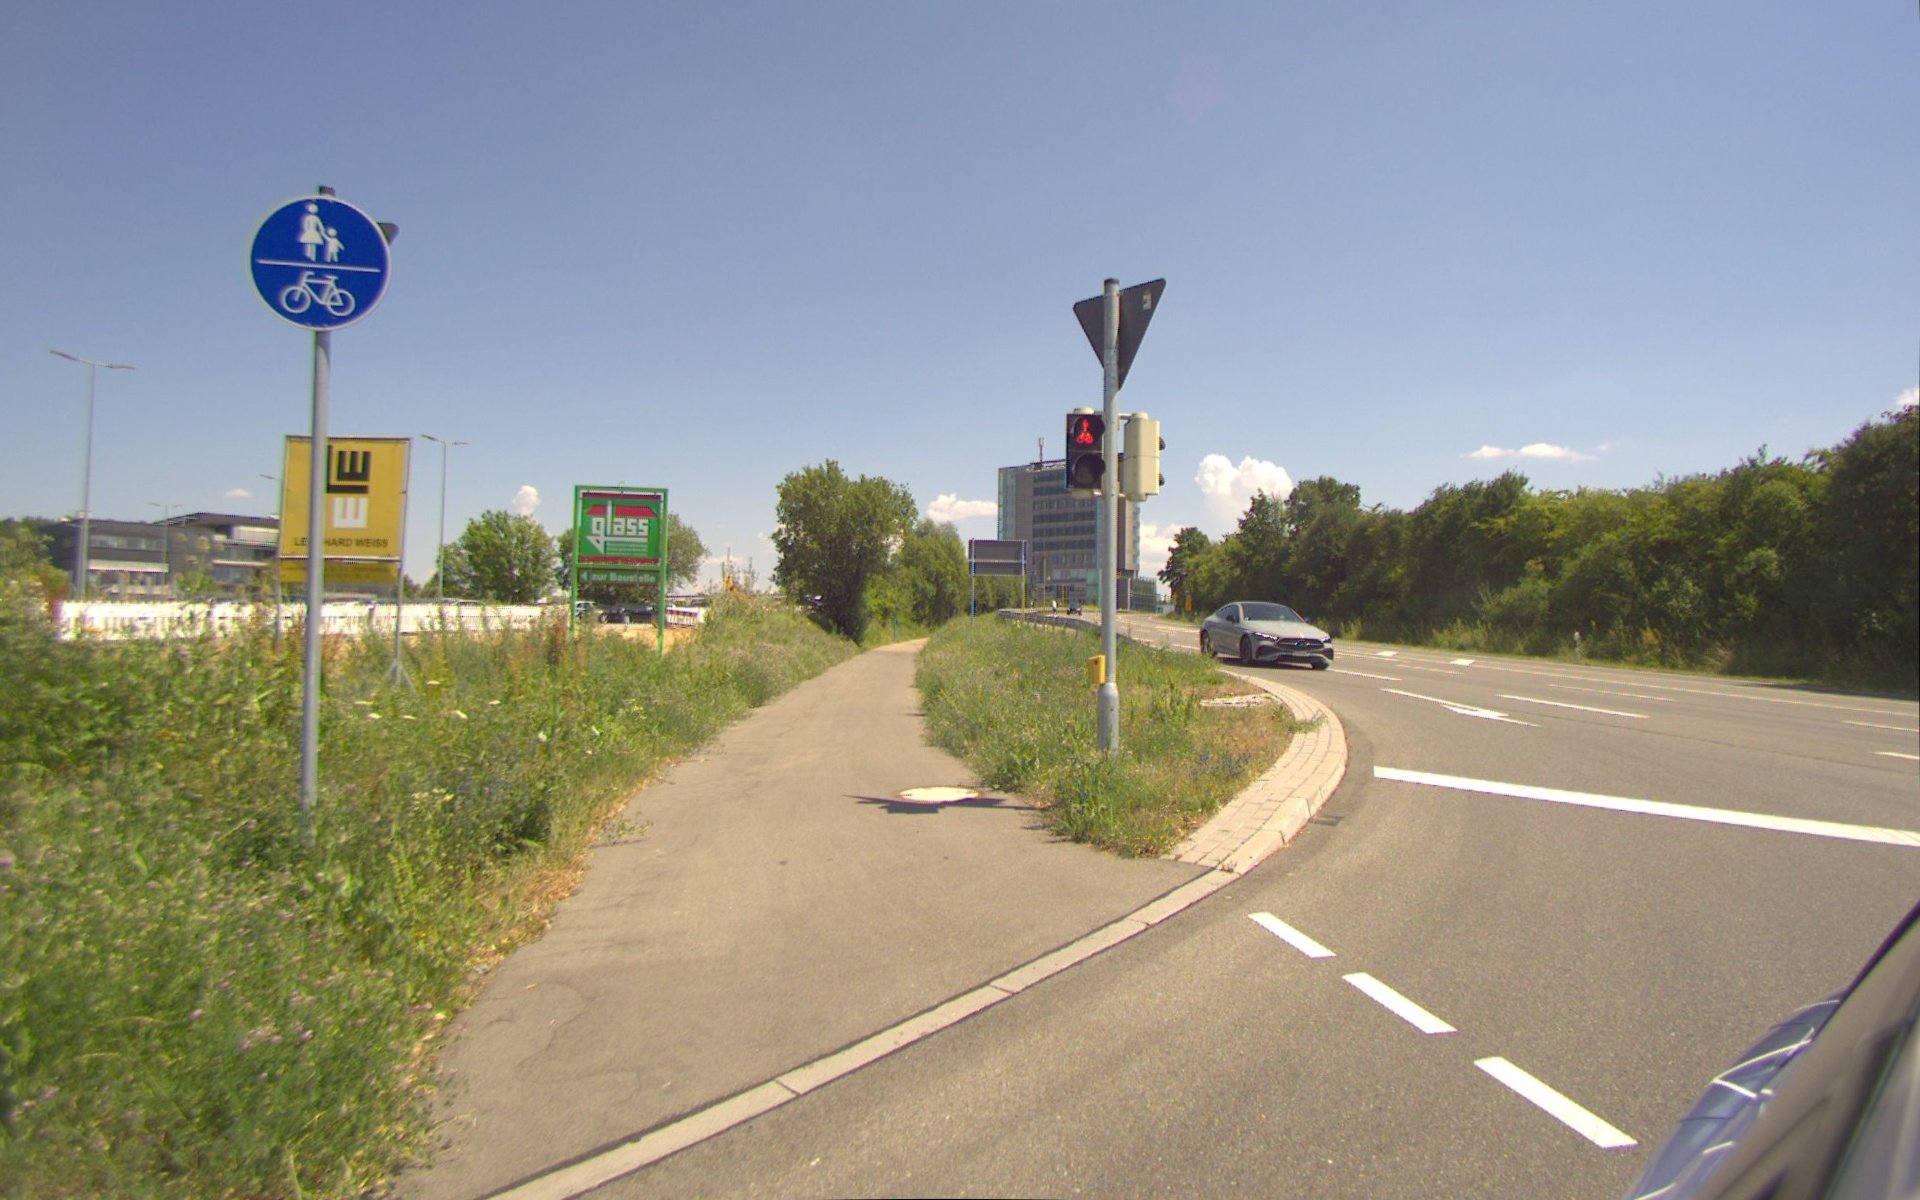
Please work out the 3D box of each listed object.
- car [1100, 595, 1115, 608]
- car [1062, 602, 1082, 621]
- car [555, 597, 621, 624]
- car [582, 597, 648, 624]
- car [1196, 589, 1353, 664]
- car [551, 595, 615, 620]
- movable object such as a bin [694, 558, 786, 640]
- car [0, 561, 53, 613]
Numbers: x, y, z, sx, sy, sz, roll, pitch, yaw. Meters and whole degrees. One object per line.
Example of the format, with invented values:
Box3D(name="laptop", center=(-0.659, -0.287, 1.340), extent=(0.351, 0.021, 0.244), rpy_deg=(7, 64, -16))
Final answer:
Box3D(name="car", center=(24.185, 0.277, 165.670), extent=(1.971, 2.038, 3.982), rpy_deg=(2, 1, 14))
Box3D(name="car", center=(13.286, 1.325, 120.247), extent=(1.963, 2.038, 3.998), rpy_deg=(2, 1, 2))
Box3D(name="car", center=(-25.229, 0.701, 68.727), extent=(1.980, 1.660, 3.965), rpy_deg=(3, 1, 25))
Box3D(name="car", center=(-22.953, 0.667, 67.515), extent=(1.980, 1.660, 3.965), rpy_deg=(3, 1, 25))
Box3D(name="car", center=(7.069, 0.656, 23.264), extent=(1.885, 1.461, 4.483), rpy_deg=(3, -3, -4))
Box3D(name="car", center=(-26.621, 0.515, 71.607), extent=(1.980, 1.660, 3.965), rpy_deg=(3, 1, 25))
Box3D(name="movable object such as a bin", center=(-11.929, -0.153, 55.748), extent=(2.933, 4.095, 8.102), rpy_deg=(2, 1, 2))
Box3D(name="car", center=(-36.699, -0.494, 37.423), extent=(1.928, 1.939, 4.420), rpy_deg=(1, 0, 35))
